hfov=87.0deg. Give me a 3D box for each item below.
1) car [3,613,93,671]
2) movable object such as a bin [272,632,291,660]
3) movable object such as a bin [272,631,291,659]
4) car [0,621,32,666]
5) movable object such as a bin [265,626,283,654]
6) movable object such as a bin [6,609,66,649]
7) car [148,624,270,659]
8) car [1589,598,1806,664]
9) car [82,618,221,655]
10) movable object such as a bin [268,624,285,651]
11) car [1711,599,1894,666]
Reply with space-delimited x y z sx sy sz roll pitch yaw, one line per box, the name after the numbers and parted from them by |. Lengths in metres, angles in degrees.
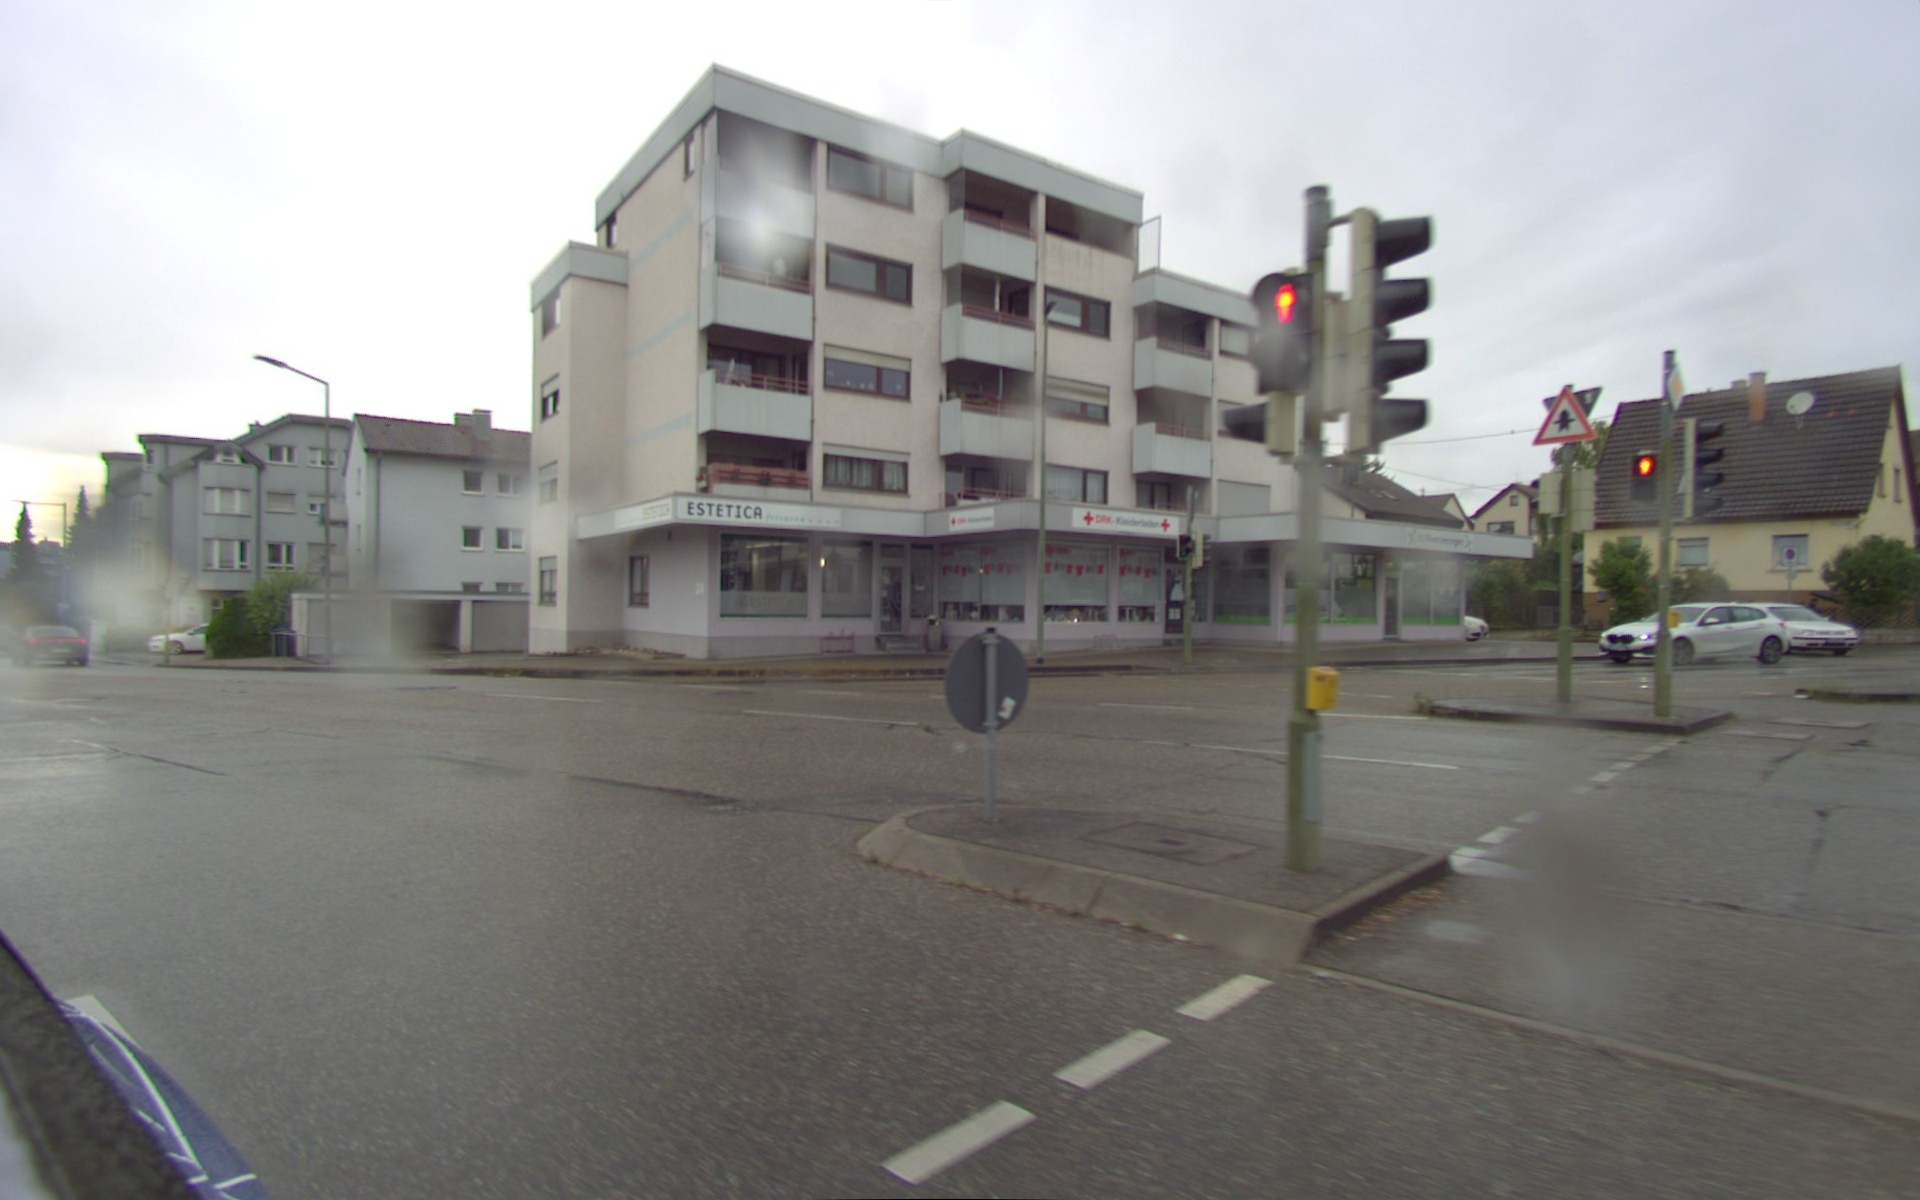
-34.496 1.549 38.245 4.649 2.029 1.973 -2 -1 41 | car
-25.091 1.683 37.405 0.492 0.968 0.536 -5 3 -37 | movable object such as a bin
-25.394 1.684 37.862 0.492 0.968 0.536 -5 3 -37 | movable object such as a bin
-47.188 2.143 49.000 5.966 2.028 2.072 -2 2 36 | car
-26.555 1.532 39.192 0.492 1.026 0.689 -5 3 -36 | movable object such as a bin
-67.501 2.088 73.963 2.878 2.863 2.203 0 -1 -31 | movable object such as a bin
-36.044 1.950 48.624 4.556 1.508 1.932 0 -1 -42 | car
17.633 0.714 24.259 4.216 1.445 1.839 -1 0 -13 | car
-40.747 1.793 51.183 5.392 1.697 2.152 0 -1 -38 | car
-24.842 1.346 36.790 0.492 0.968 0.603 0 -1 -37 | movable object such as a bin
23.928 0.869 28.943 1.808 1.746 3.920 -1 0 -2 | car
